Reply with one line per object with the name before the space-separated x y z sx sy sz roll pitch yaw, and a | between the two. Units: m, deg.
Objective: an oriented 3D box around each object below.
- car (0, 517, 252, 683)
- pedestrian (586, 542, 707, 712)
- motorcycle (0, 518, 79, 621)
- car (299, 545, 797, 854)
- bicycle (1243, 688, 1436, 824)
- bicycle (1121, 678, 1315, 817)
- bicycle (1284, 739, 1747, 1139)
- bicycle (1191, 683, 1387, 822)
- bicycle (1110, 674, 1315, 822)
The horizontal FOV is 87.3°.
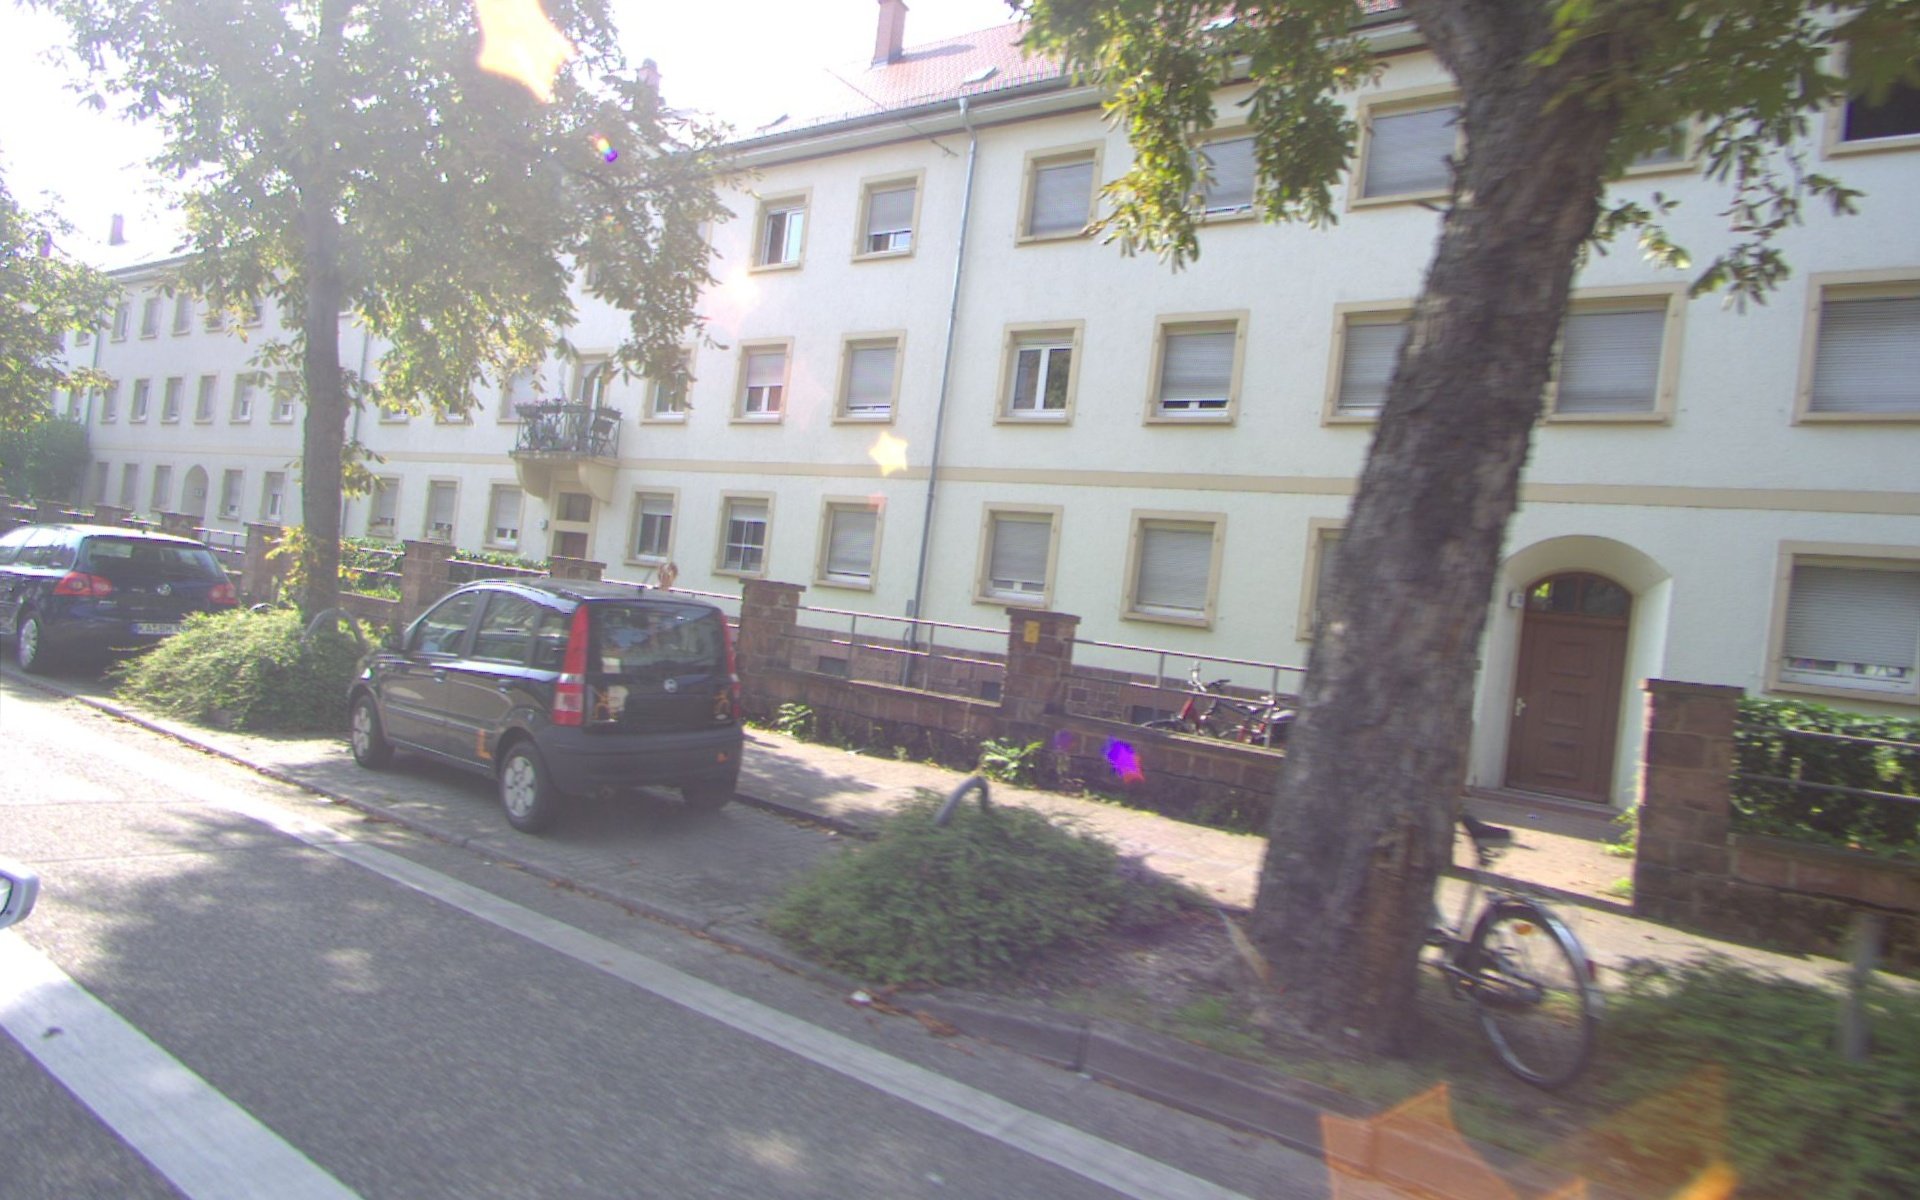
car | -9.863 -0.079 11.236 4.176 1.466 1.647 6 0 32
pedestrian | -3.525 0.308 11.313 0.865 1.769 0.752 7 -1 38
motorcycle | -13.248 -0.438 13.572 0.693 1.307 1.855 12 5 28
car | -3.181 0.557 7.460 3.784 1.560 1.644 6 0 37
bicycle | 3.916 1.582 10.450 1.700 1.085 0.524 6 -1 33
bicycle | 2.572 1.441 10.104 1.700 1.085 0.524 6 -1 33
bicycle | 2.144 1.257 4.191 0.517 1.085 1.723 8 -2 -16
bicycle | 3.307 1.507 10.184 1.700 1.085 0.524 6 -1 33
bicycle | 2.367 1.363 9.516 1.700 1.085 0.524 6 -1 33
